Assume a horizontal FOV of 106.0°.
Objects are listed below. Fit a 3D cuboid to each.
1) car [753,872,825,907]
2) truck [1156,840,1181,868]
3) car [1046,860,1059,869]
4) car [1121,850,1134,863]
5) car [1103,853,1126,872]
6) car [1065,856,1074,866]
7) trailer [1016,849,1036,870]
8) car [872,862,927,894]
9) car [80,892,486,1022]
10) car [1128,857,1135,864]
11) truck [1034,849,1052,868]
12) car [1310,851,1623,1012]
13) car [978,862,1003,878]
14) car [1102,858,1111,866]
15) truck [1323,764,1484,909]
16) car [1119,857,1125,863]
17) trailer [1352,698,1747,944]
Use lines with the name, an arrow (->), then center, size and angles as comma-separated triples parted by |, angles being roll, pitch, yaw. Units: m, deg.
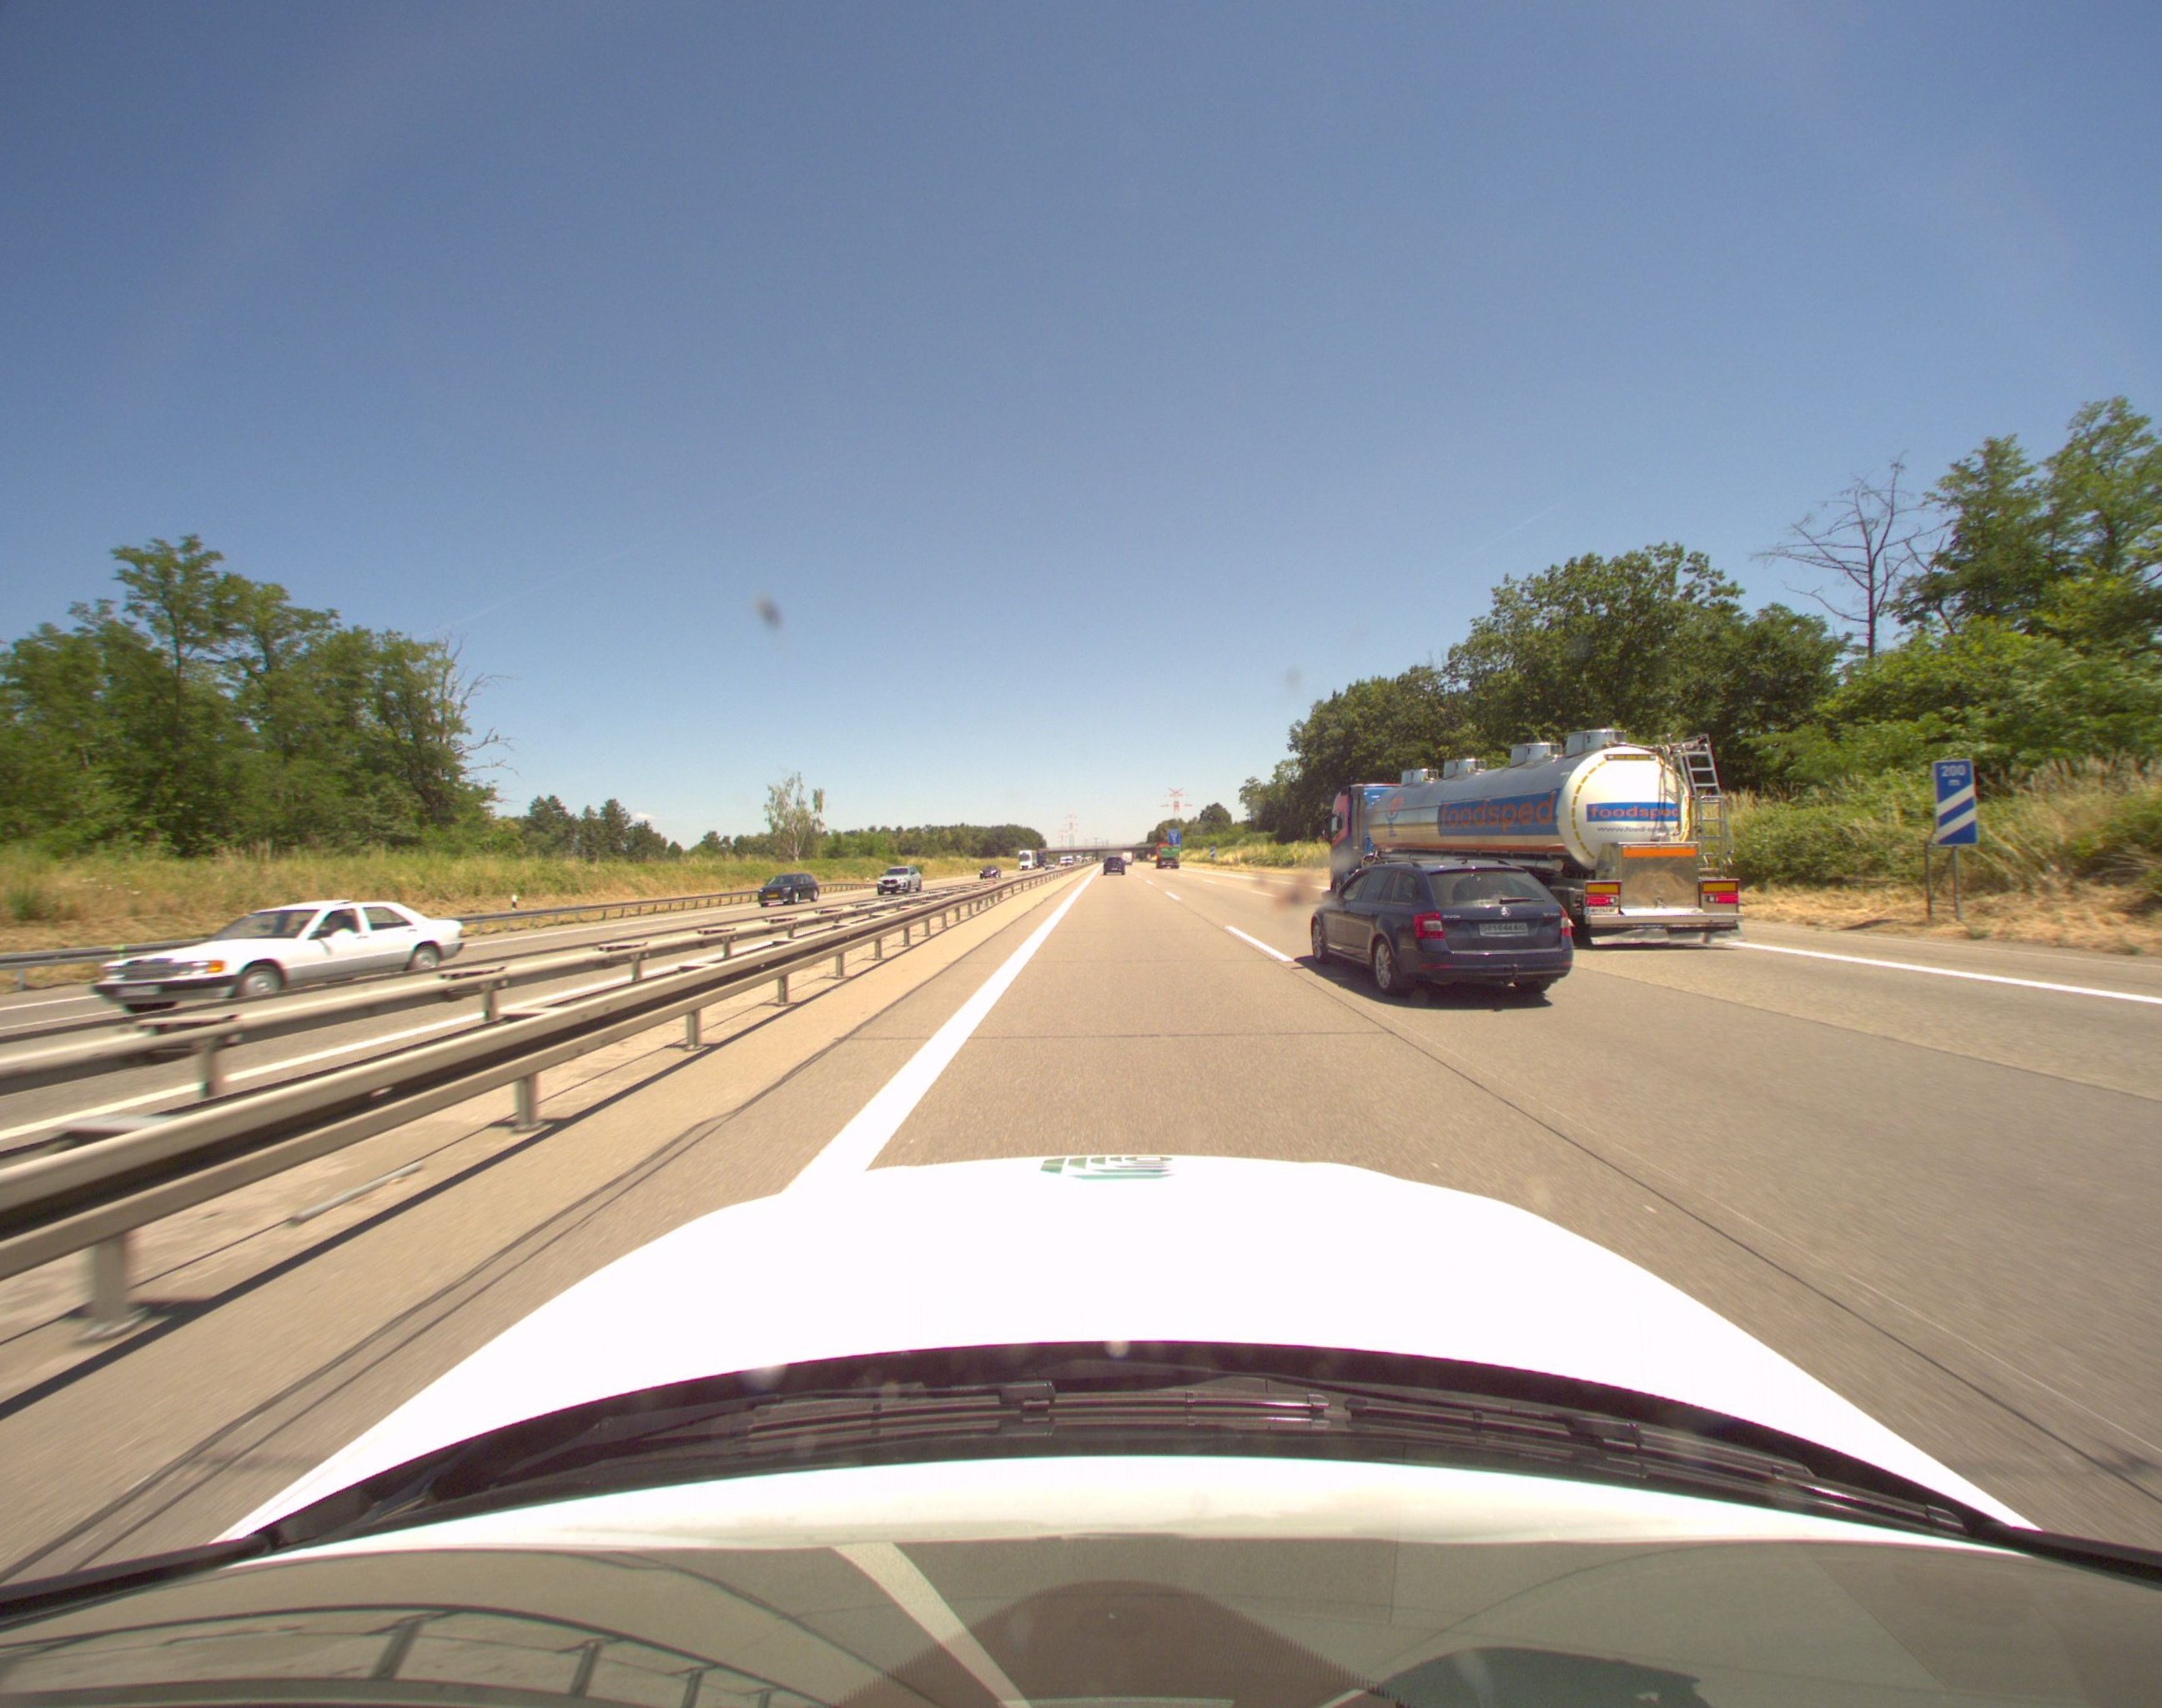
car -> -15.222, 1.809, 42.745 | 1.825, 1.554, 4.951 | -3, 0, 1
truck -> 12.473, 0.027, 117.503 | 2.670, 3.798, 12.484 | 0, 0, 2
car -> -5.290, 1.907, 152.055 | 1.955, 1.429, 5.291 | -3, 0, 1
car -> 9.910, 0.490, 174.838 | 2.611, 2.759, 6.099 | 0, 0, 2
car -> 3.092, 0.764, 75.542 | 1.986, 1.750, 4.001 | 0, 0, 2
car -> -3.045, 1.761, 215.026 | 1.986, 2.570, 6.393 | -4, 0, 2
trailer -> -11.366, 1.149, 169.370 | 3.143, 4.198, 6.328 | -4, -1, 2
car -> -10.995, 1.402, 49.656 | 1.955, 1.718, 5.291 | -3, 0, 1
car -> -12.036, 1.447, 12.839 | 1.799, 1.396, 4.483 | -3, 0, 2
car -> 12.816, 1.753, 206.100 | 1.787, 1.750, 4.001 | 0, 0, 2
truck -> -9.888, 1.213, 212.013 | 3.364, 4.625, 12.192 | -4, -1, 2
car -> 4.188, 0.731, 9.729 | 1.795, 1.483, 4.273 | 0, 0, 1
car -> -9.754, 1.722, 87.968 | 1.955, 1.525, 5.291 | -3, 0, 1
car -> 5.252, 1.594, 164.713 | 1.787, 1.750, 4.001 | 0, 0, 2
truck -> 9.261, -0.439, 24.160 | 2.519, 3.734, 6.101 | 0, 0, 2
car -> 12.986, 1.881, 258.748 | 1.740, 1.634, 4.005 | 0, 0, 2
trailer -> 9.053, -0.470, 18.194 | 2.519, 3.734, 11.553 | 0, 0, 2
